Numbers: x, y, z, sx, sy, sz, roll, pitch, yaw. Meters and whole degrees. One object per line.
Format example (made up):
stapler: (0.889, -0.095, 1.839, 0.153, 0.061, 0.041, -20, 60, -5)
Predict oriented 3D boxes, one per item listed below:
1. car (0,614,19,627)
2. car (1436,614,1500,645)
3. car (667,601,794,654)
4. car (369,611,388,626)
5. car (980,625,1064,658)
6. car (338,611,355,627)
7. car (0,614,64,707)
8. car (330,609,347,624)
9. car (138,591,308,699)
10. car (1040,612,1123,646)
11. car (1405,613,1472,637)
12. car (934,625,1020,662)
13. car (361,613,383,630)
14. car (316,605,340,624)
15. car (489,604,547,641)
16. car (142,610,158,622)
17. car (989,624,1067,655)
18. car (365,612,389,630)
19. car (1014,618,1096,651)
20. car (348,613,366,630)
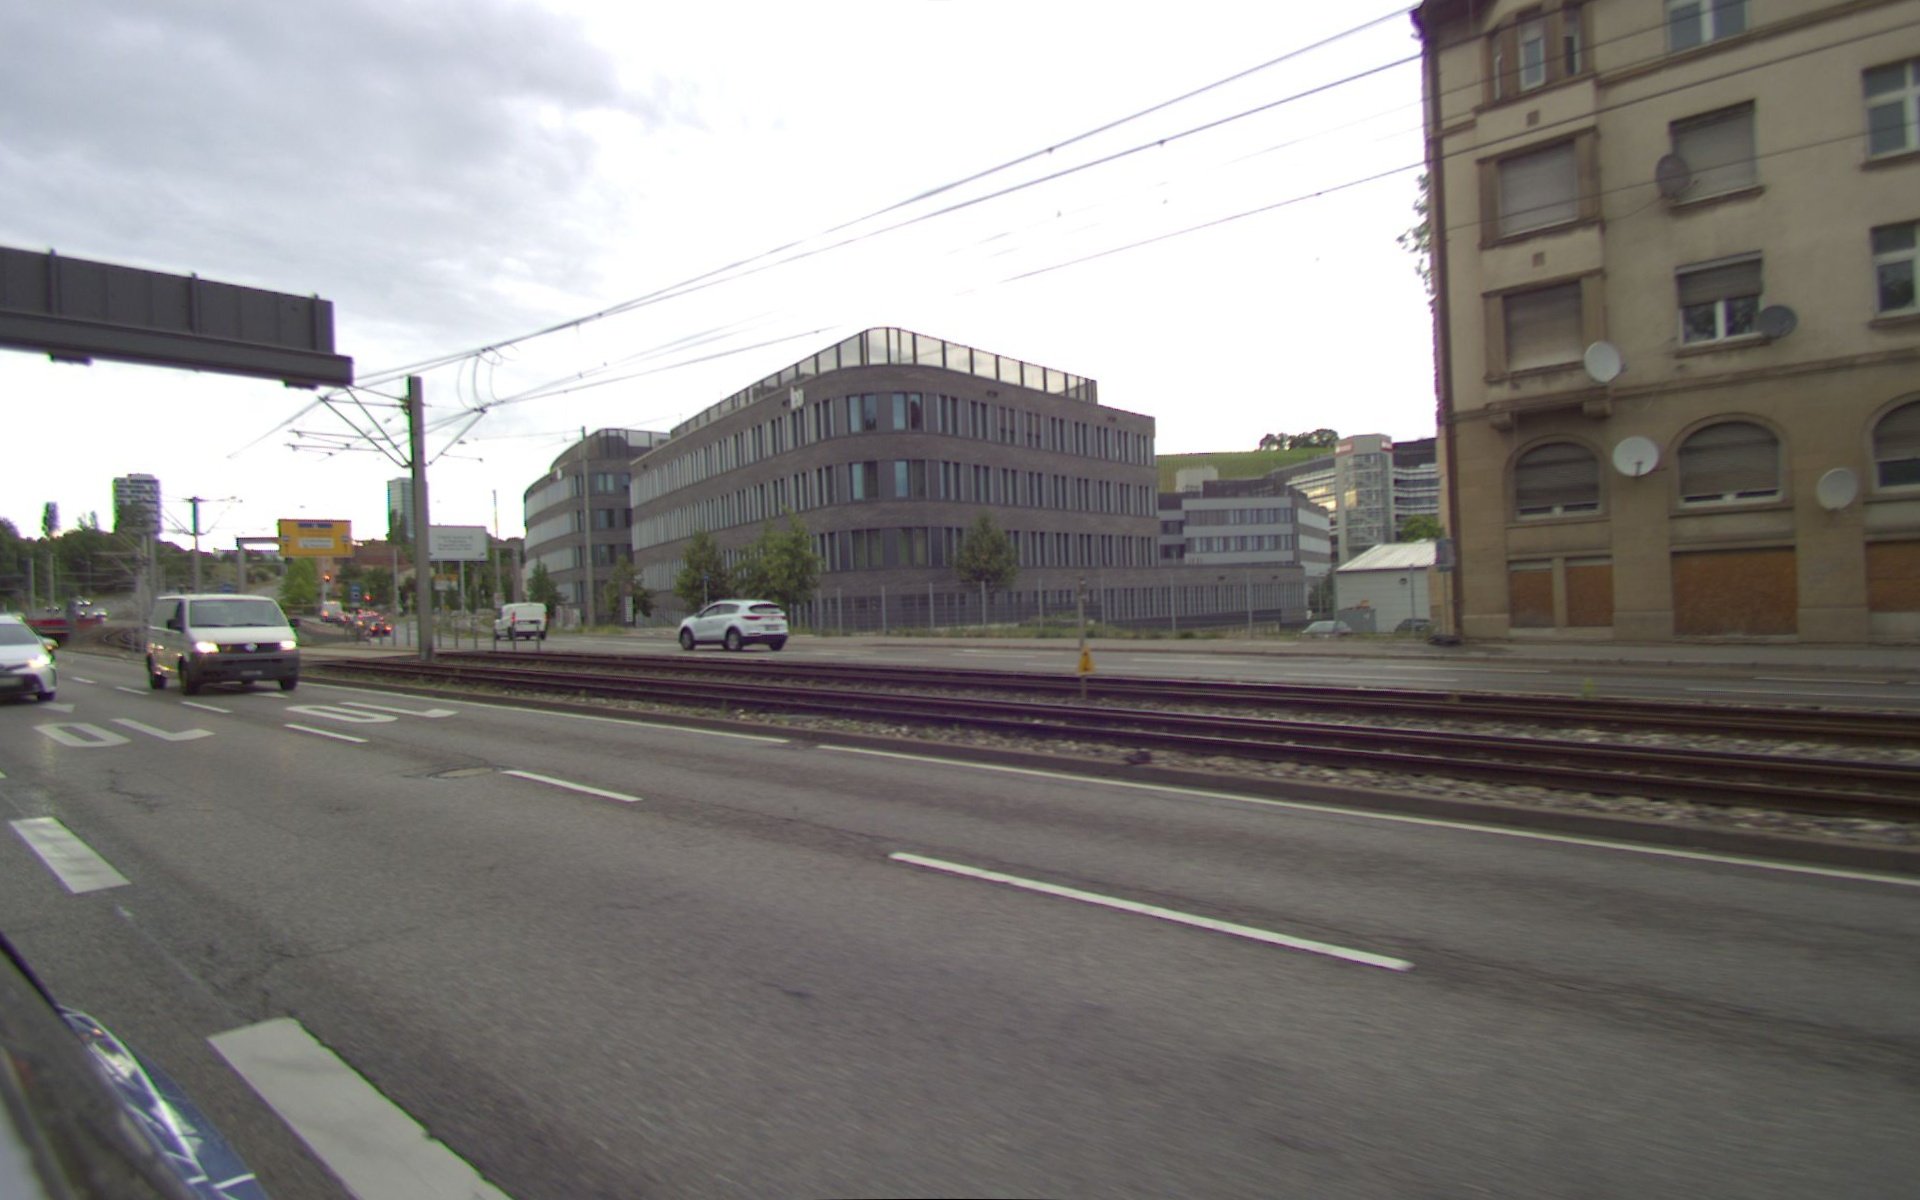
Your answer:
car: (-151.718, 3.293, 161.421, 3.998, 2.029, 1.973, -1, -1, 41)
car: (28.821, 1.627, 57.379, 3.936, 1.666, 1.750, 0, 0, -39)
car: (-7.589, 0.899, 33.239, 4.485, 1.609, 1.727, -2, 0, 41)
car: (-73.918, 2.333, 128.645, 1.807, 1.811, 4.226, 1, -2, -34)
car: (2.798, 1.858, 45.912, 3.567, 1.345, 1.601, 0, 0, 41)
car: (-75.068, 2.290, 123.803, 1.643, 1.833, 4.010, 0, 0, -34)
car: (-18.177, 1.081, 18.669, 4.317, 1.585, 1.956, -1, -1, 41)
car: (-80.321, 2.166, 130.763, 1.643, 1.918, 4.010, 0, 0, -36)
car: (-15.278, 0.865, 20.867, 4.716, 1.973, 1.889, -1, 0, 42)
car: (6.286, 1.461, 52.593, 3.998, 1.666, 1.722, -1, 0, 41)
car: (33.752, 1.730, 71.455, 3.994, 1.666, 1.724, -1, 0, 38)
car: (0.692, 1.841, 43.380, 3.567, 1.447, 1.525, -1, 0, 41)
car: (-64.358, 2.356, 110.767, 1.807, 1.811, 4.226, 1, -2, -34)
car: (-84.868, 1.932, 135.798, 2.301, 2.486, 7.043, 0, 0, -36)
car: (-22.431, 1.154, 51.283, 1.807, 1.811, 4.224, 1, -2, -37)
car: (-132.031, 2.652, 165.034, 1.968, 1.962, 4.007, 0, 0, -40)
car: (3.248, 1.874, 48.725, 3.567, 1.393, 1.525, -1, 0, 41)
car: (-61.356, 2.203, 106.453, 1.807, 1.811, 4.226, 1, -2, -34)
car: (4.698, 1.685, 50.441, 3.787, 1.556, 1.722, -1, 0, 41)
car: (-68.172, 2.417, 114.421, 1.643, 1.918, 4.011, 0, 0, -32)
